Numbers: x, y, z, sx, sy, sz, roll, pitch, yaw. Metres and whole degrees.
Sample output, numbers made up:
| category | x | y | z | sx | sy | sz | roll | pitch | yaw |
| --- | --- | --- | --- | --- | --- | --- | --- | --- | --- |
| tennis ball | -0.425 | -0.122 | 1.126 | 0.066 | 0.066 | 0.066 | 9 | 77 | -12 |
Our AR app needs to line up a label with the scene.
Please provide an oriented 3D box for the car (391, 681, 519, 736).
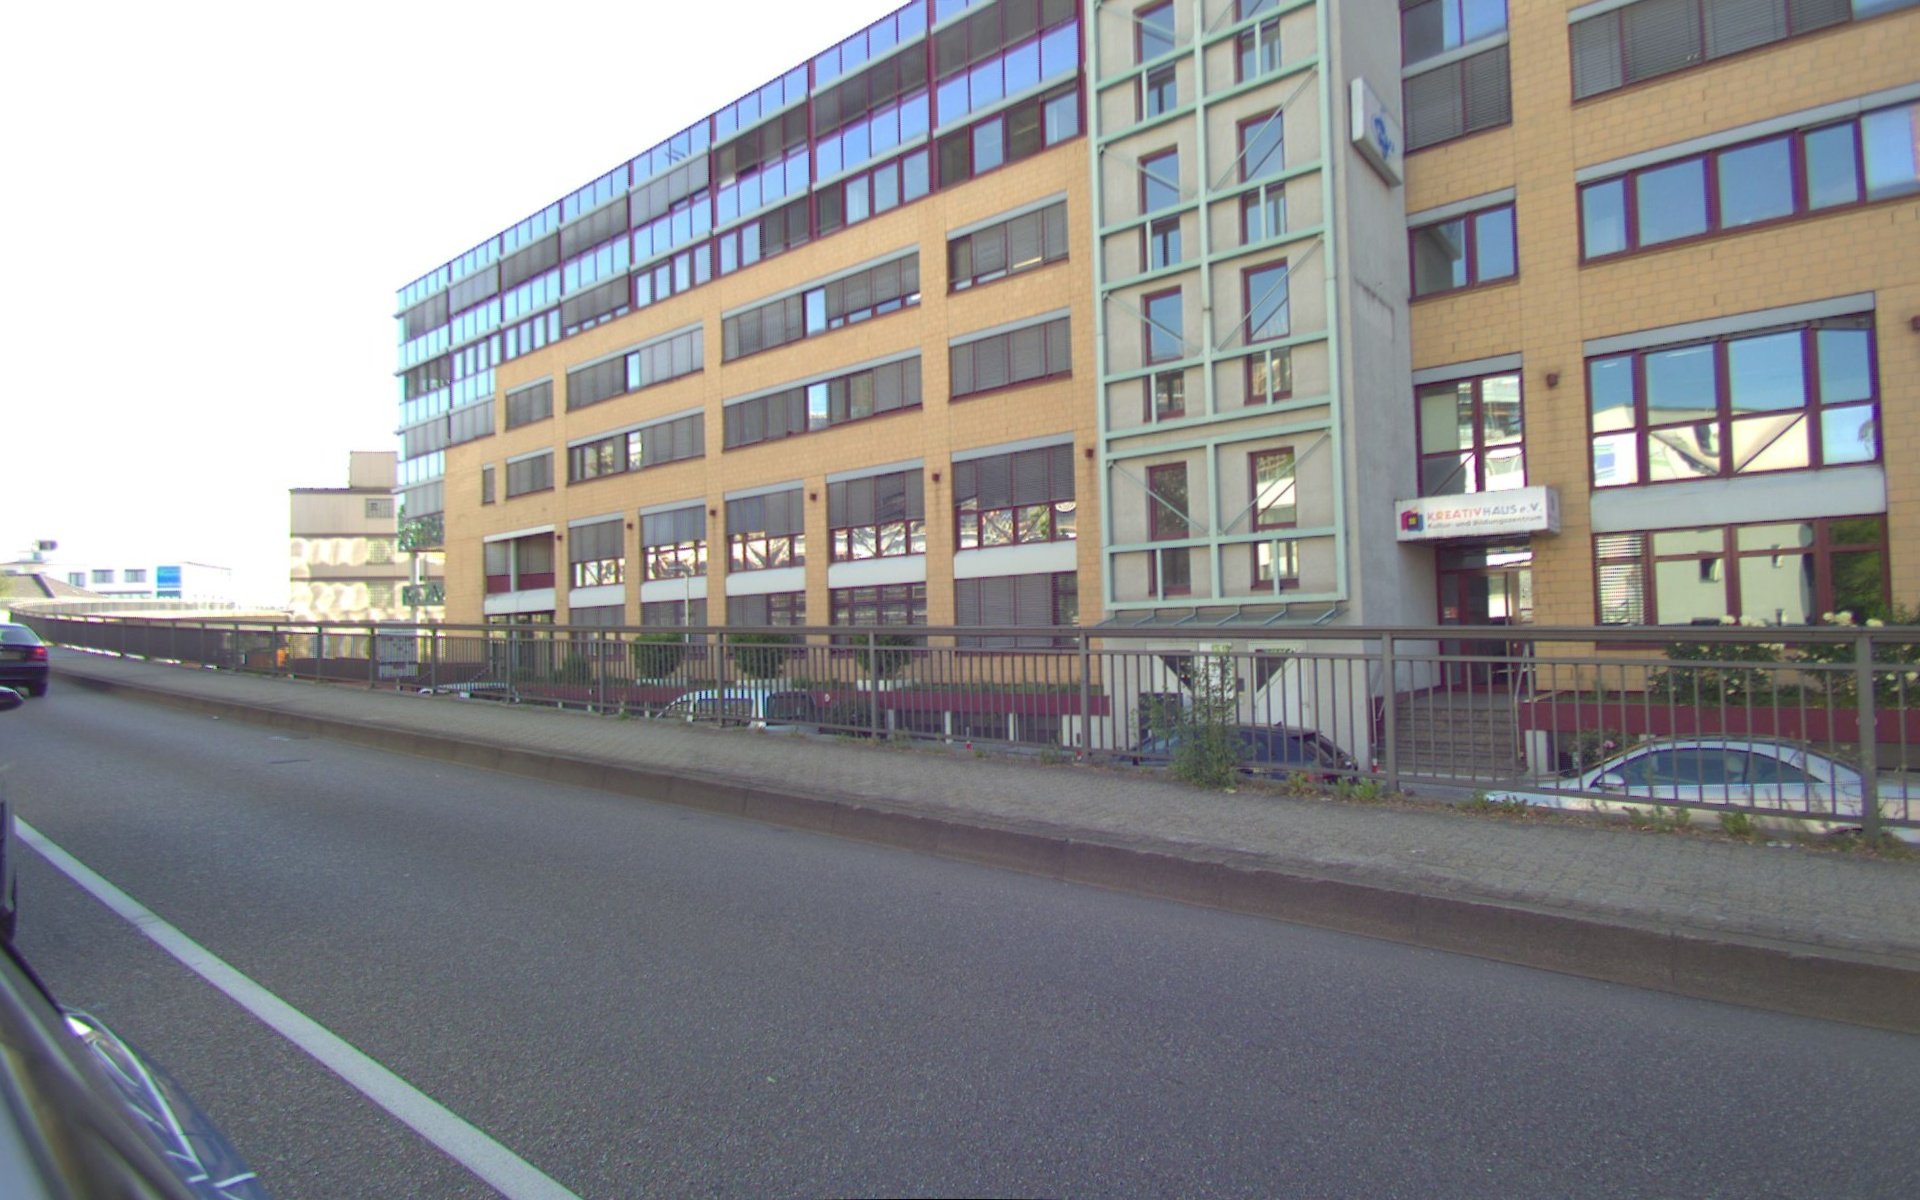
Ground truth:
| category | x | y | z | sx | sy | sz | roll | pitch | yaw |
| --- | --- | --- | --- | --- | --- | --- | --- | --- | --- |
| car | -13.826 | 2.915 | 27.634 | 3.805 | 1.279 | 1.744 | -3 | -4 | 40 |

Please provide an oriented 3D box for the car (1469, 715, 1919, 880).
| category | x | y | z | sx | sy | sz | roll | pitch | yaw |
| --- | --- | --- | --- | --- | --- | --- | --- | --- | --- |
| car | 7.679 | 1.879 | 10.214 | 4.254 | 1.175 | 1.704 | -3 | -4 | 40 |

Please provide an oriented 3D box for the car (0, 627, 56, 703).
| category | x | y | z | sx | sy | sz | roll | pitch | yaw |
| --- | --- | --- | --- | --- | --- | --- | --- | --- | --- |
| car | -19.565 | 1.251 | 20.150 | 4.197 | 1.418 | 1.724 | -2 | -3 | 40 |

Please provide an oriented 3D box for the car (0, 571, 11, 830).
| category | x | y | z | sx | sy | sz | roll | pitch | yaw |
| --- | --- | --- | --- | --- | --- | --- | --- | --- | --- |
| car | -5.850 | 0.758 | 4.668 | 3.998 | 1.660 | 1.726 | -3 | -4 | 41 |

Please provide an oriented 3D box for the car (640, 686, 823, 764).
| category | x | y | z | sx | sy | sz | roll | pitch | yaw |
| --- | --- | --- | --- | --- | --- | --- | --- | --- | --- |
| car | -4.600 | 2.416 | 20.135 | 3.805 | 1.279 | 1.560 | -3 | -4 | 40 |

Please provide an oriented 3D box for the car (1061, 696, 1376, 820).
| category | x | y | z | sx | sy | sz | roll | pitch | yaw |
| --- | --- | --- | --- | --- | --- | --- | --- | --- | --- |
| car | 3.370 | 2.005 | 13.601 | 3.805 | 1.279 | 1.560 | -3 | -4 | 40 |
